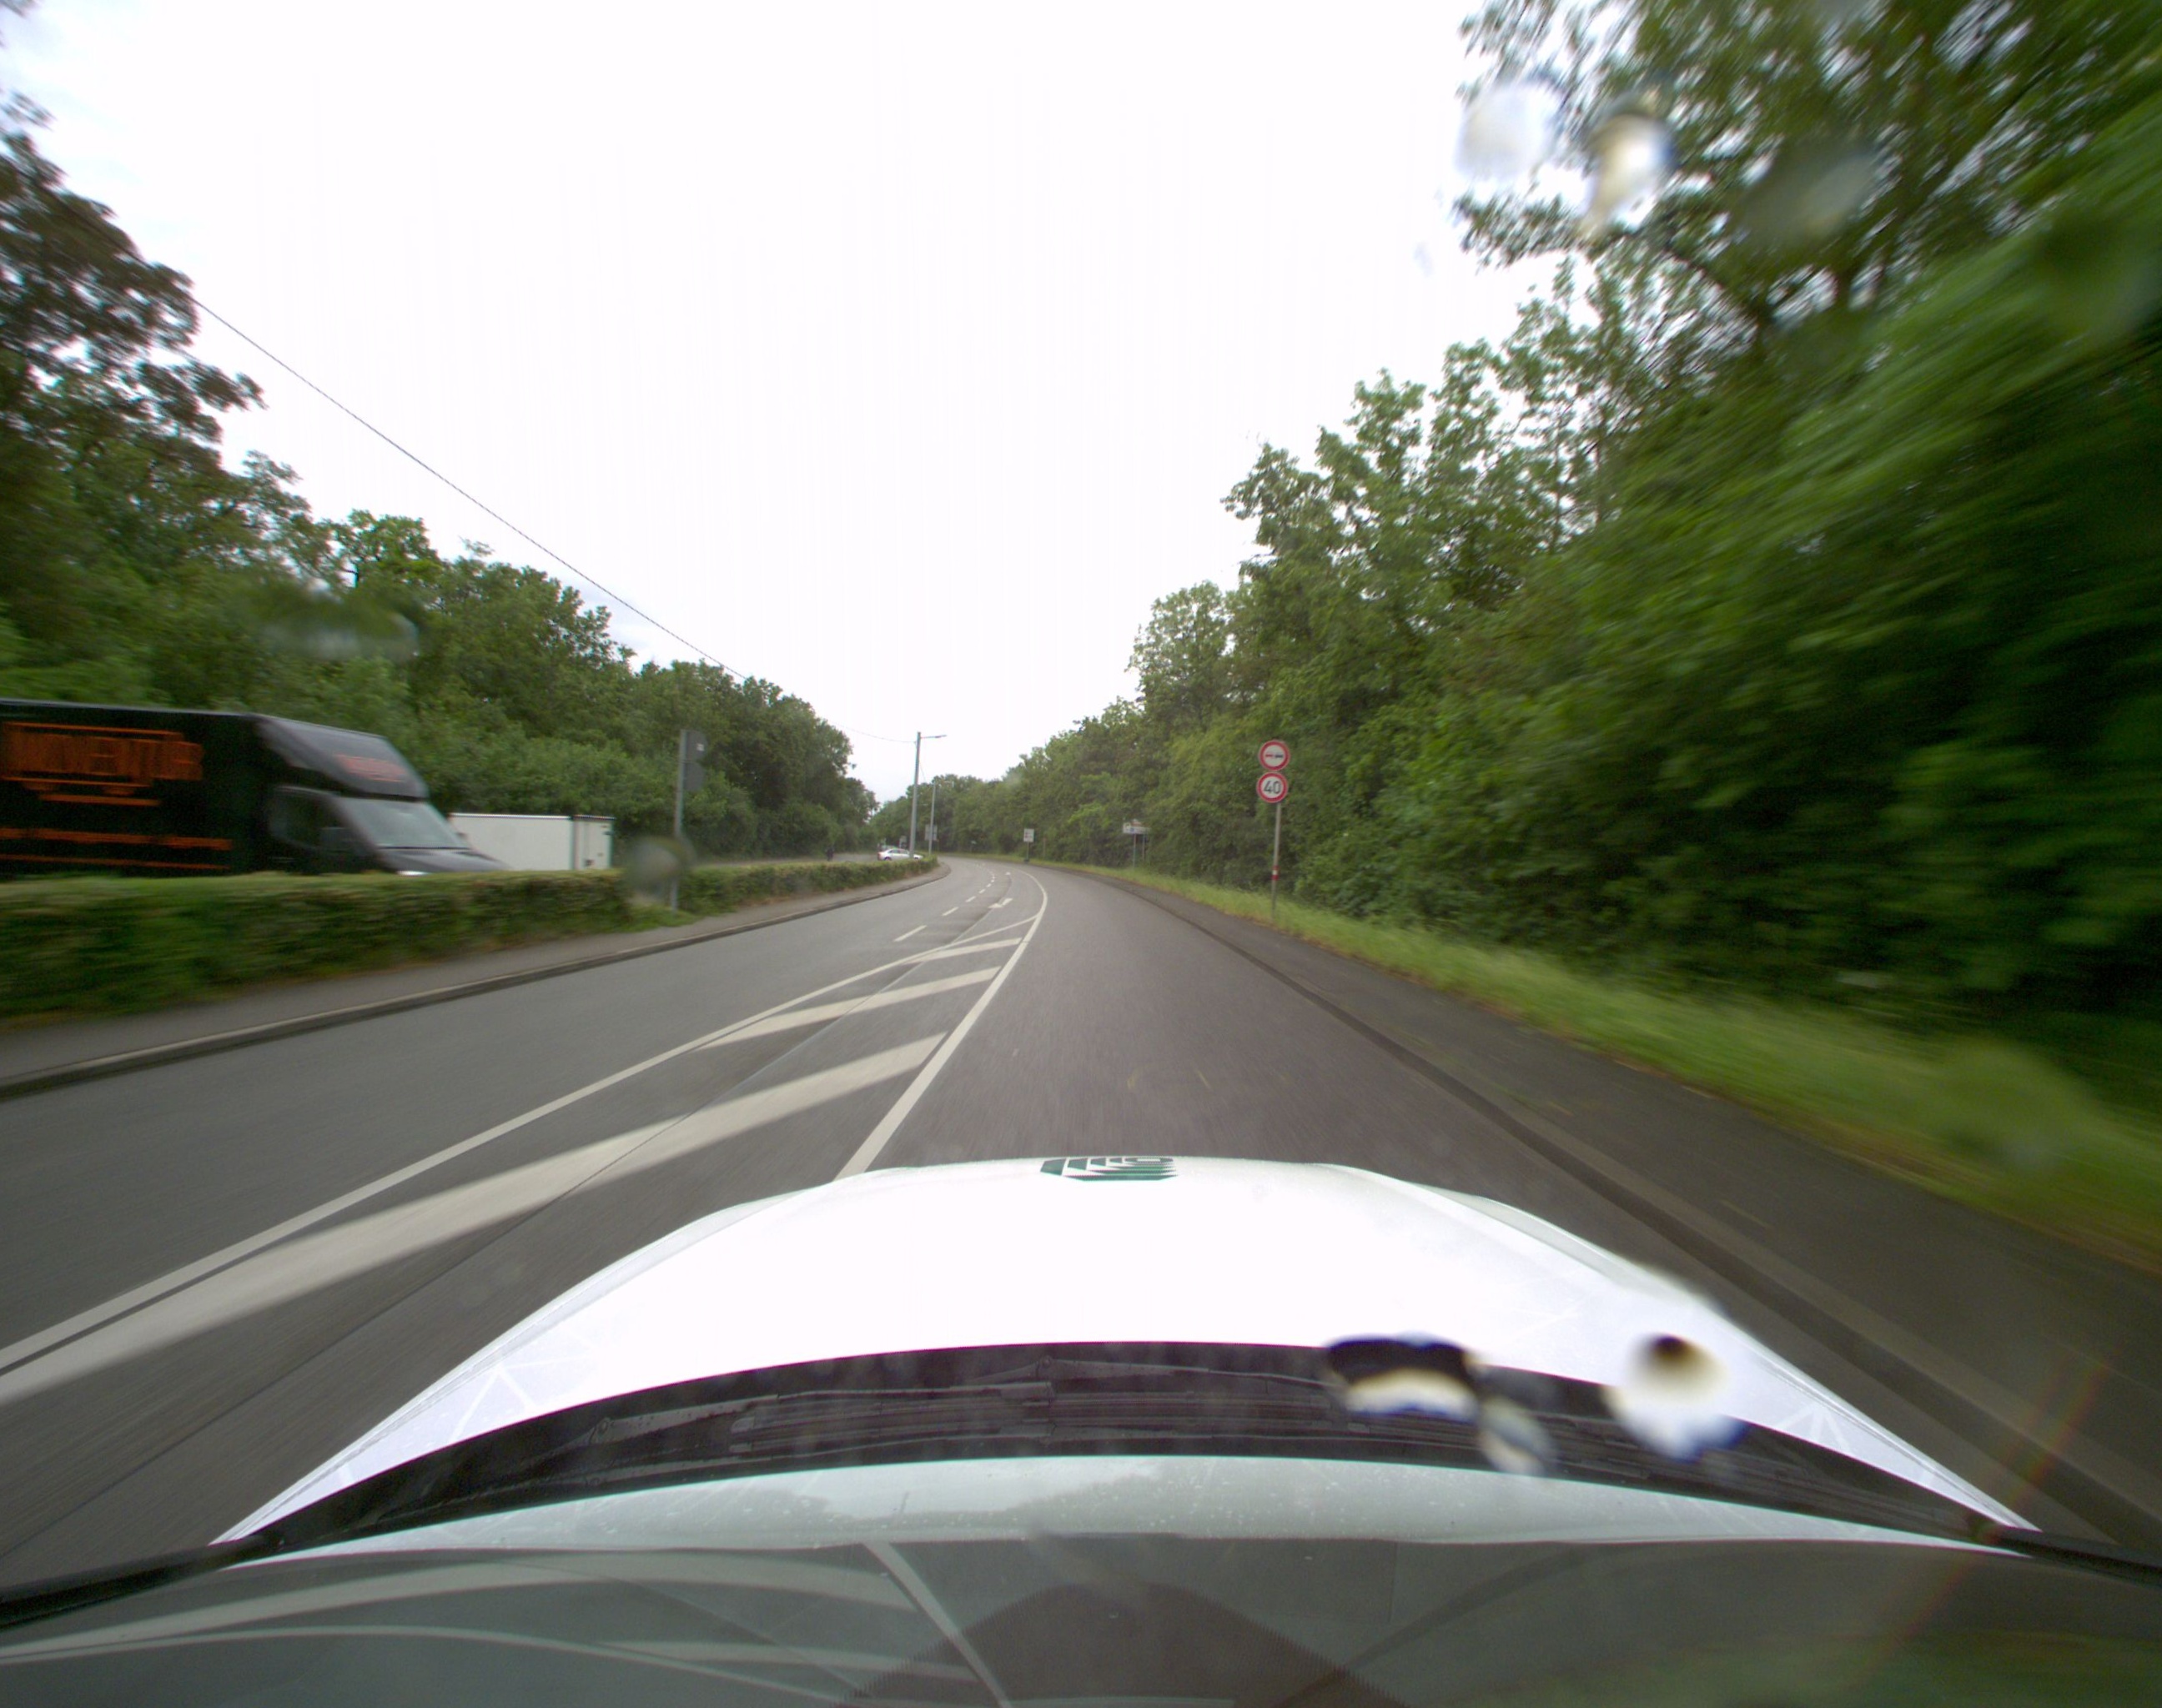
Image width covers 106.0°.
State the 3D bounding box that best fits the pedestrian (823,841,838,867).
[{"bbox_3d":[-17.546,-0.003,57.029,0.816,1.797,1.133,1,0,-7],"label":"pedestrian"}]

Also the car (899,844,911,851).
[{"bbox_3d":[-39.640,-1.369,182.944,1.942,1.498,4.287,1,0,-22],"label":"car"}]

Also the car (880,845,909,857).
[{"bbox_3d":[-28.374,-0.447,123.995,4.296,1.708,1.991,2,0,-14],"label":"car"}]

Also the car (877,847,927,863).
[{"bbox_3d":[-17.390,0.087,79.173,4.585,1.506,1.989,1,0,-17],"label":"car"}]

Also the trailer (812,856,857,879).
[{"bbox_3d":[-11.521,0.640,38.113,1.800,1.034,1.330,1,0,-8],"label":"trailer"}]

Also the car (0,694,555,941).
[{"bbox_3d":[-11.884,-0.438,11.992,6.260,3.113,2.747,1,-1,-5],"label":"car"}]

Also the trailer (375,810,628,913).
[{"bbox_3d":[-12.230,0.162,17.416,3.976,2.053,1.872,1,0,-2],"label":"trailer"}]
